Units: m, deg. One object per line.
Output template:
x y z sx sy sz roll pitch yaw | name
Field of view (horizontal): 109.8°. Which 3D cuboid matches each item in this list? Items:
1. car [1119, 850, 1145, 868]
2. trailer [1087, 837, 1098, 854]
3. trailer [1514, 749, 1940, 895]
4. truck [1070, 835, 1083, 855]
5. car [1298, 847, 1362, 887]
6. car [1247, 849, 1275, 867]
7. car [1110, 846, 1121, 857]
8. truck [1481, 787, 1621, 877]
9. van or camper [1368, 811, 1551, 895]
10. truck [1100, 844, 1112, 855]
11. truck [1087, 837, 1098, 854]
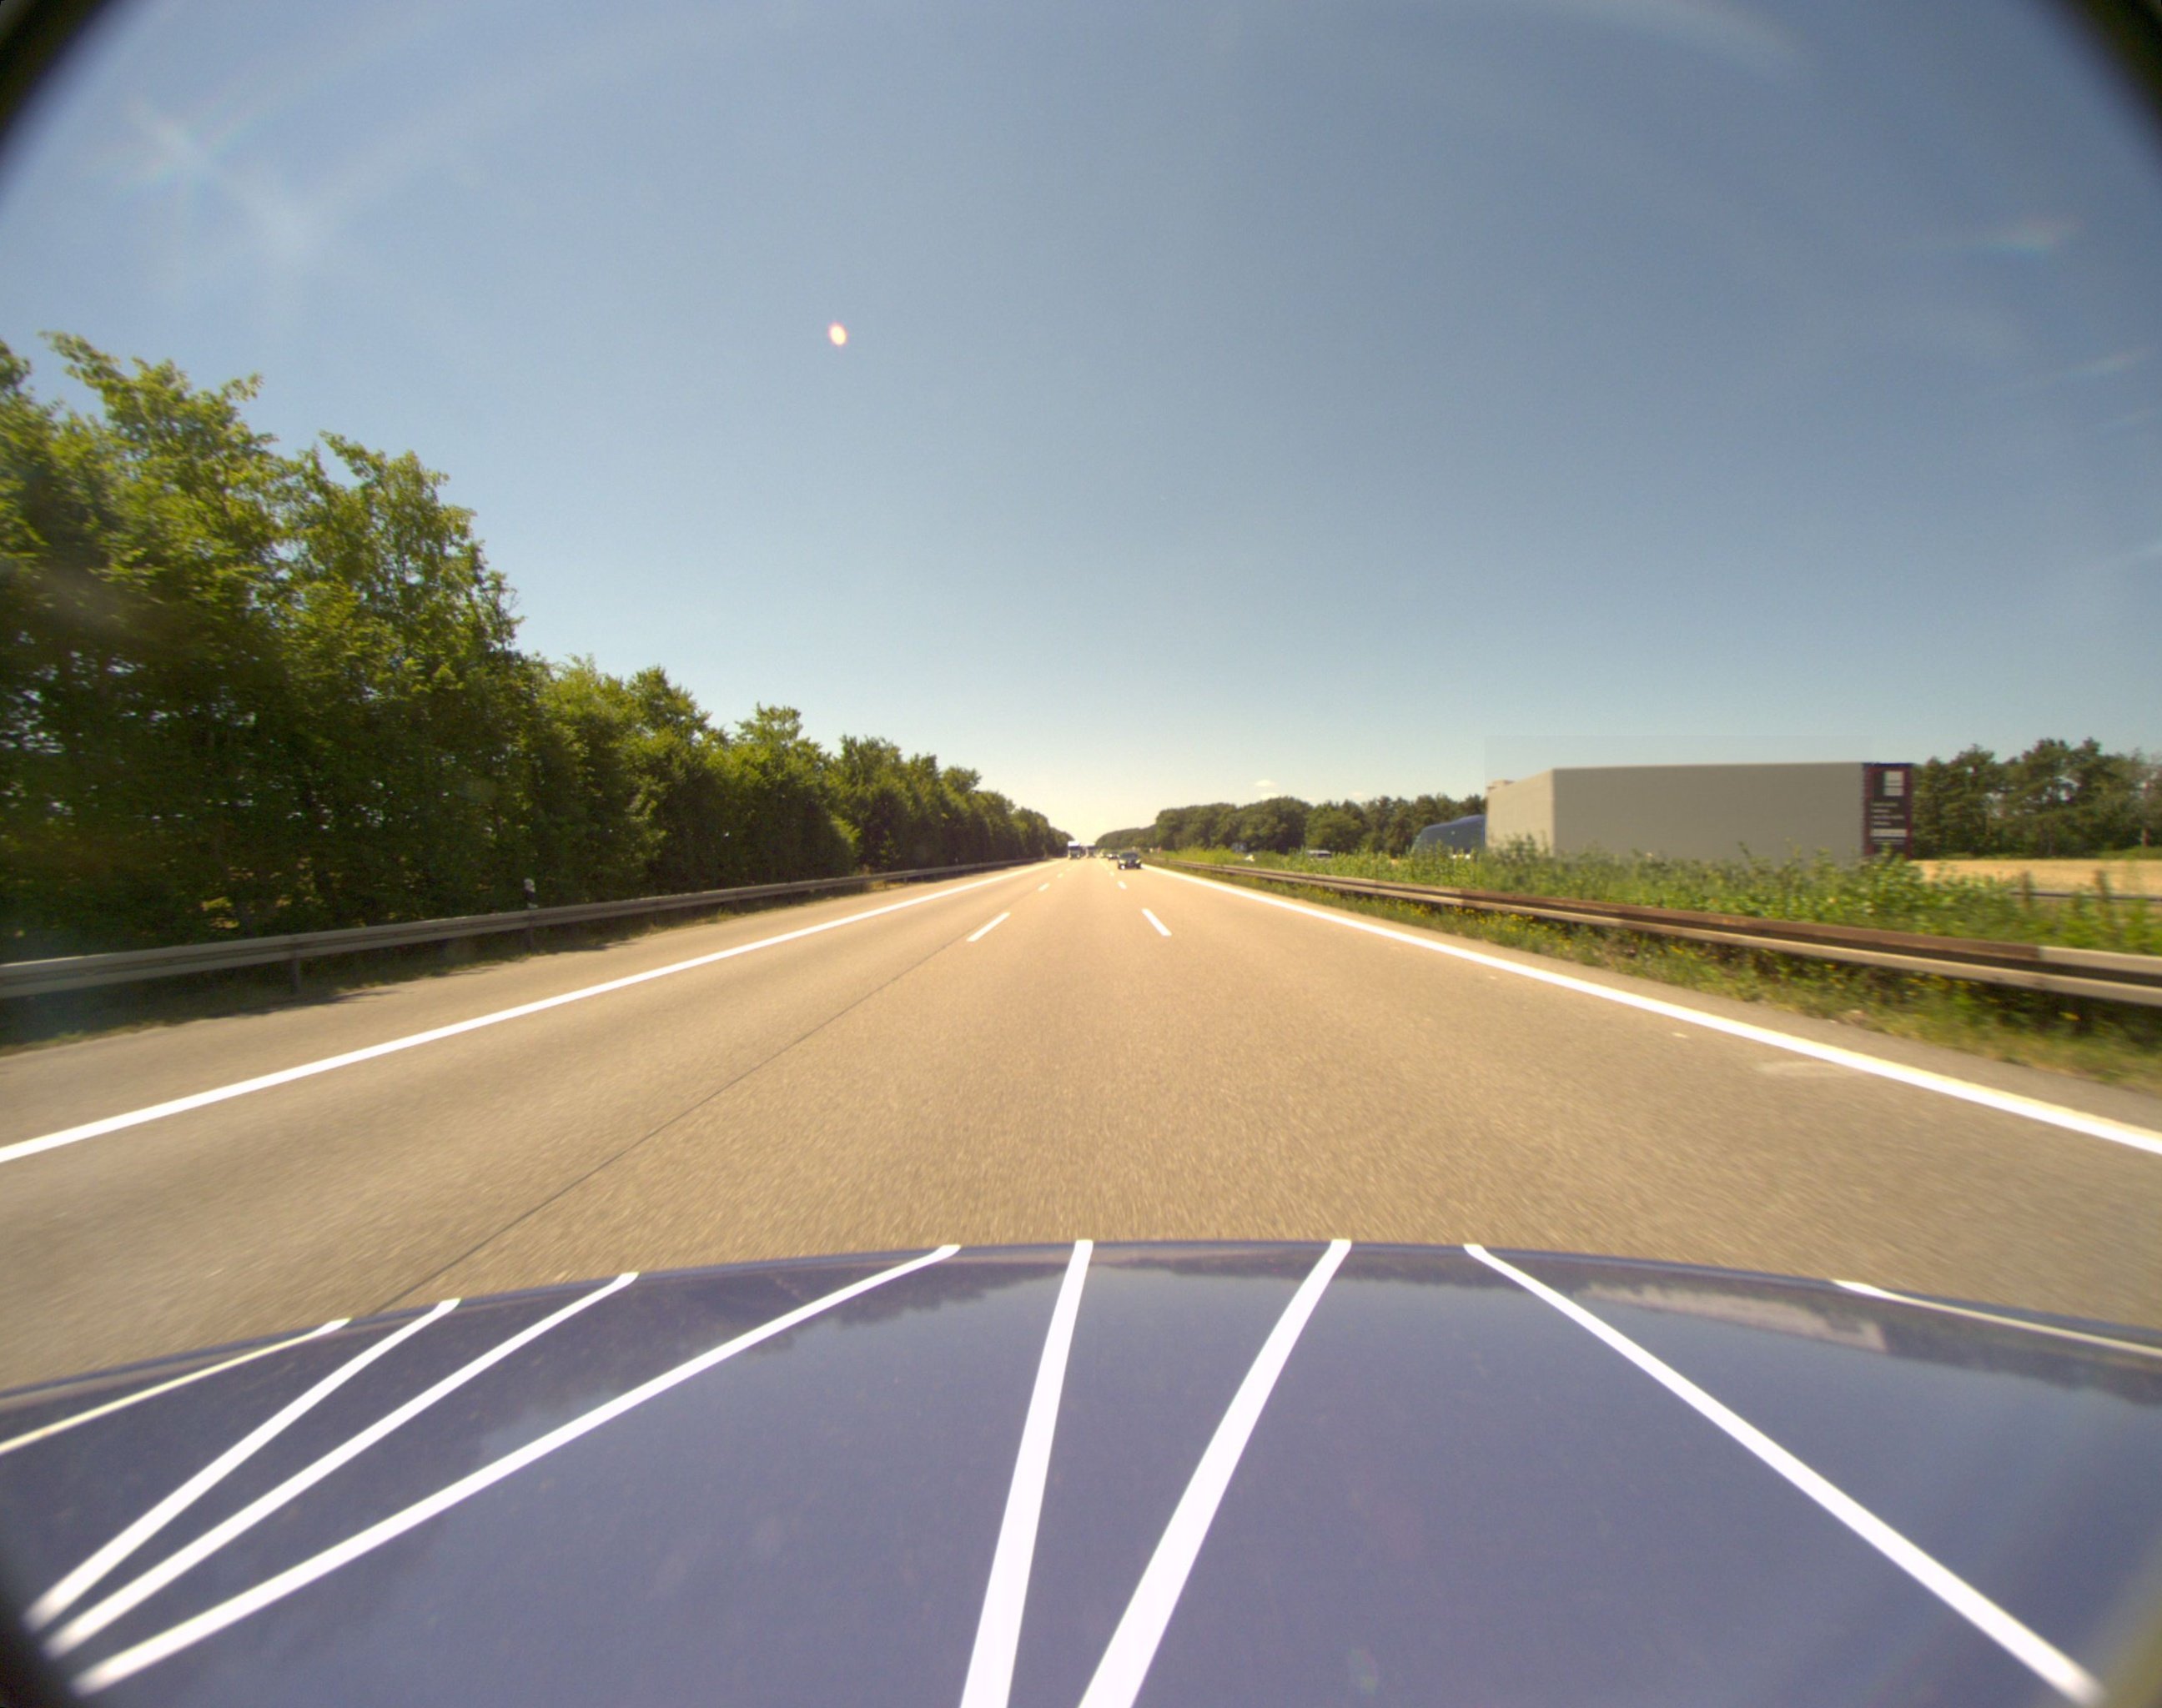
4.217 0.409 63.274 1.811 1.399 3.999 -2 1 0 | car
3.048 -2.219 206.154 2.863 4.247 11.470 -2 0 0 | trailer
20.983 -0.884 27.045 3.117 3.677 14.382 -2 0 1 | trailer
-1.025 -2.026 173.663 2.863 4.247 6.863 -2 1 0 | truck
13.314 0.652 40.939 1.998 2.002 4.712 -1 1 1 | car
16.882 0.346 71.377 1.852 1.610 3.928 0 1 1 | car
5.666 -0.488 125.213 1.806 1.774 4.000 -1 1 1 | car
21.149 -0.943 34.590 3.117 3.677 5.198 -2 1 1 | truck
16.236 -0.095 34.009 2.617 3.083 11.510 -1 1 1 | van or camper
5.794 -1.025 179.775 2.576 2.461 5.614 -2 0 0 | truck
3.010 -2.174 199.923 2.863 4.247 5.411 -2 1 0 | truck
